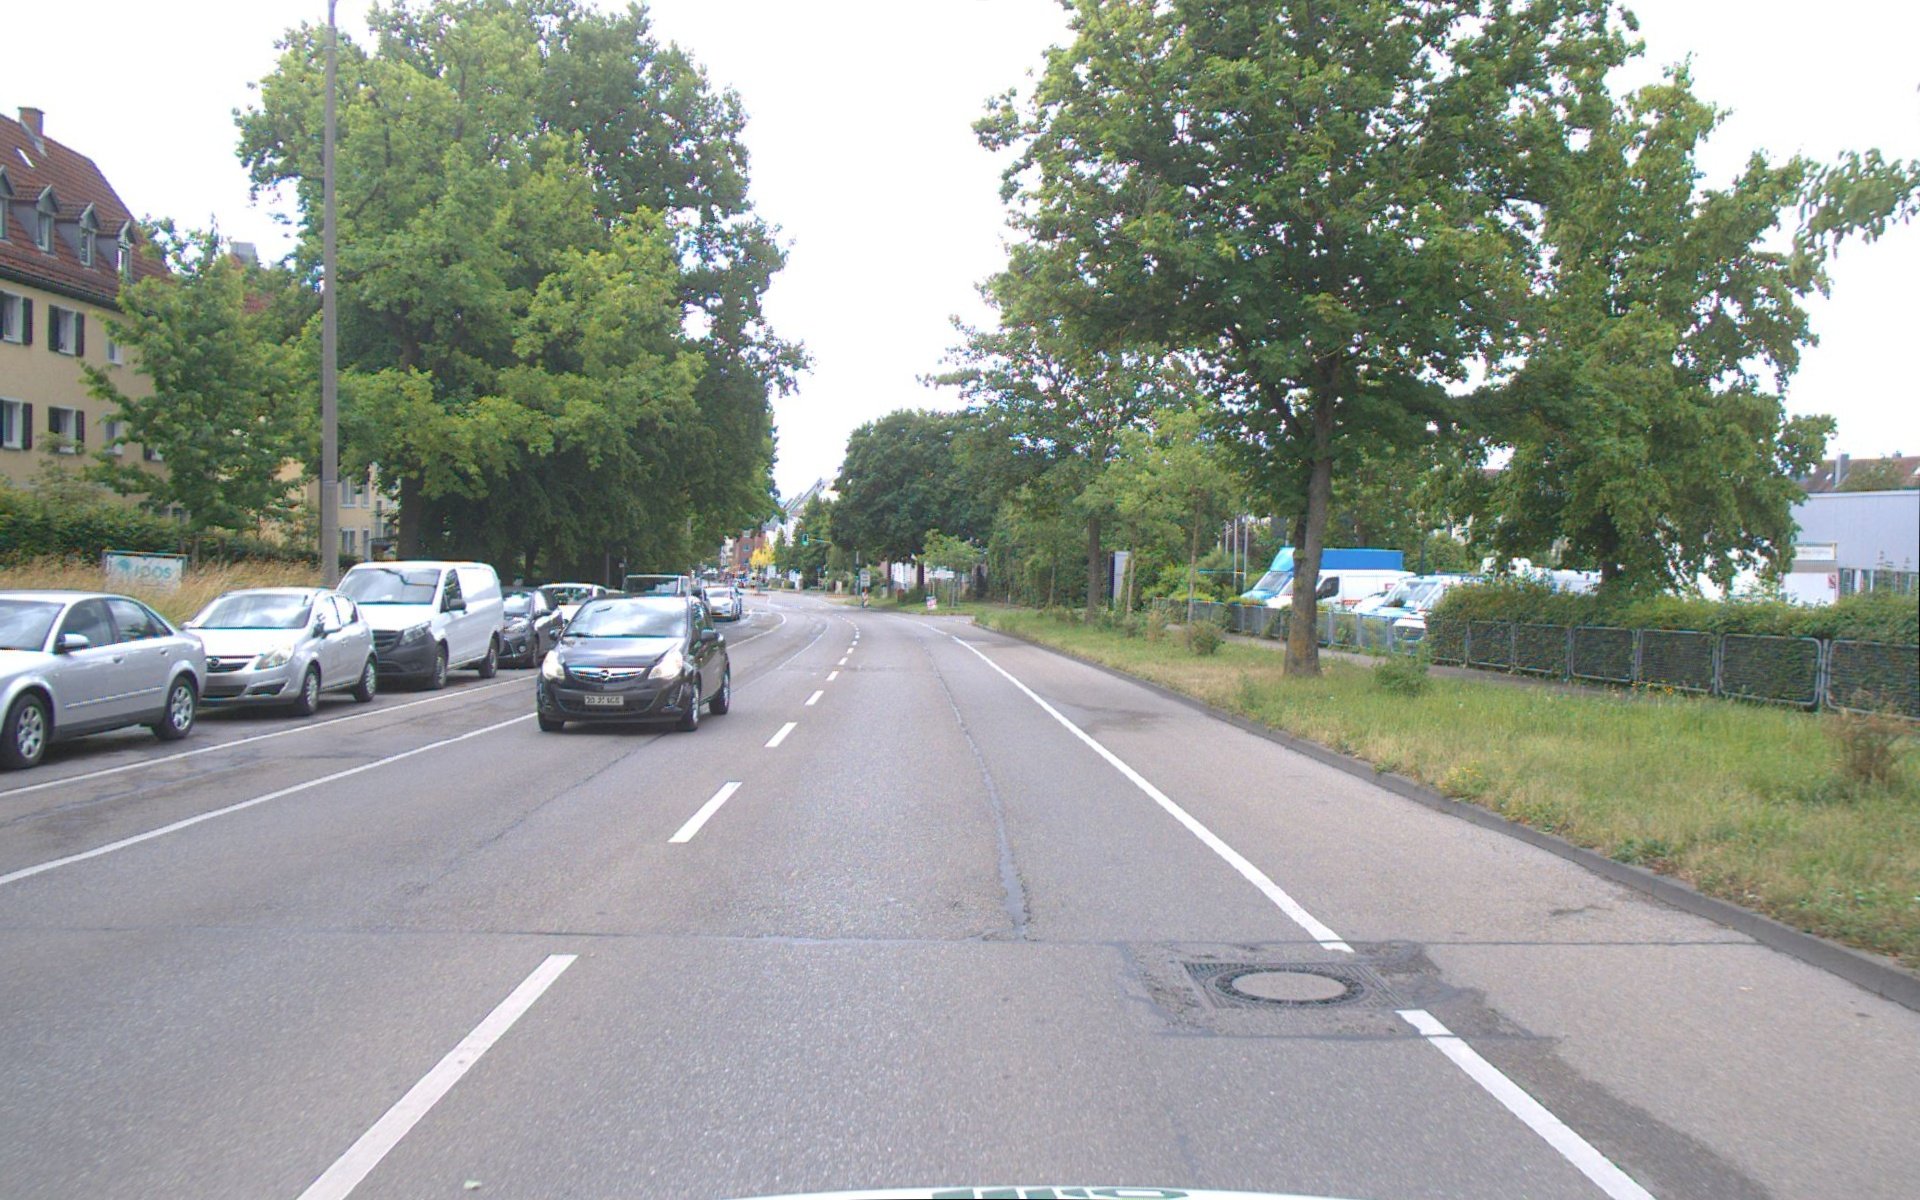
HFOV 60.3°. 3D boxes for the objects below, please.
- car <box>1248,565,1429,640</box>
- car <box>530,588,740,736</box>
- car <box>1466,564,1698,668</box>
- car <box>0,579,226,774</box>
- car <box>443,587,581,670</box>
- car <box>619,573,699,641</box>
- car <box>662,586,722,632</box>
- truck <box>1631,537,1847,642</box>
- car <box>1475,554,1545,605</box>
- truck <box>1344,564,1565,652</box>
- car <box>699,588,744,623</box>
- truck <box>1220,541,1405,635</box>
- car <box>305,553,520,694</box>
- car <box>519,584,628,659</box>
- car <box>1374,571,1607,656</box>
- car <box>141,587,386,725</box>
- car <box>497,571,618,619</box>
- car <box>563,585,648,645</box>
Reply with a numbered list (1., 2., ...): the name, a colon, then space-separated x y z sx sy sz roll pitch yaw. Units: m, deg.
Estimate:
1. car: 13.081 0.099 57.046 5.936 2.408 2.343 2 0 -26
2. car: -3.558 0.625 18.765 1.604 1.493 4.000 0 0 0
3. car: 14.365 0.389 38.128 5.182 2.226 2.053 2 0 -27
4. car: -8.357 0.595 14.670 1.731 1.521 4.357 -1 0 0
5. car: -8.736 0.515 32.557 1.639 1.514 4.044 -1 0 -1
6. car: -9.420 0.202 52.164 1.829 1.998 5.123 1 0 -3
7. car: -9.989 0.325 61.901 1.731 1.662 4.156 1 0 -3
8. truck: 28.685 -0.363 61.558 2.797 3.519 9.531 2 0 -5
9. car: 31.619 -1.225 94.992 2.218 2.723 5.429 1 3 36
10. truck: 13.682 0.244 45.648 6.167 2.251 2.224 2 0 -30
11. car: -11.348 0.257 78.906 1.732 1.600 4.756 0 0 -4
12. truck: 13.885 -0.475 65.021 7.077 3.538 2.597 0 0 -27
13. car: -8.503 0.304 26.202 1.732 1.964 5.154 2 1 -1
14. car: -8.657 0.446 37.351 1.640 1.592 4.279 0 0 -3
15. car: 13.497 0.359 42.022 5.732 1.991 2.056 2 0 -24
16. car: -8.370 0.610 20.239 1.603 1.458 3.946 1 1 -5
17. car: -15.881 -0.191 65.502 4.349 1.475 1.866 5 -1 -8
18. car: -9.378 0.389 43.981 1.629 1.505 4.087 1 0 -4
